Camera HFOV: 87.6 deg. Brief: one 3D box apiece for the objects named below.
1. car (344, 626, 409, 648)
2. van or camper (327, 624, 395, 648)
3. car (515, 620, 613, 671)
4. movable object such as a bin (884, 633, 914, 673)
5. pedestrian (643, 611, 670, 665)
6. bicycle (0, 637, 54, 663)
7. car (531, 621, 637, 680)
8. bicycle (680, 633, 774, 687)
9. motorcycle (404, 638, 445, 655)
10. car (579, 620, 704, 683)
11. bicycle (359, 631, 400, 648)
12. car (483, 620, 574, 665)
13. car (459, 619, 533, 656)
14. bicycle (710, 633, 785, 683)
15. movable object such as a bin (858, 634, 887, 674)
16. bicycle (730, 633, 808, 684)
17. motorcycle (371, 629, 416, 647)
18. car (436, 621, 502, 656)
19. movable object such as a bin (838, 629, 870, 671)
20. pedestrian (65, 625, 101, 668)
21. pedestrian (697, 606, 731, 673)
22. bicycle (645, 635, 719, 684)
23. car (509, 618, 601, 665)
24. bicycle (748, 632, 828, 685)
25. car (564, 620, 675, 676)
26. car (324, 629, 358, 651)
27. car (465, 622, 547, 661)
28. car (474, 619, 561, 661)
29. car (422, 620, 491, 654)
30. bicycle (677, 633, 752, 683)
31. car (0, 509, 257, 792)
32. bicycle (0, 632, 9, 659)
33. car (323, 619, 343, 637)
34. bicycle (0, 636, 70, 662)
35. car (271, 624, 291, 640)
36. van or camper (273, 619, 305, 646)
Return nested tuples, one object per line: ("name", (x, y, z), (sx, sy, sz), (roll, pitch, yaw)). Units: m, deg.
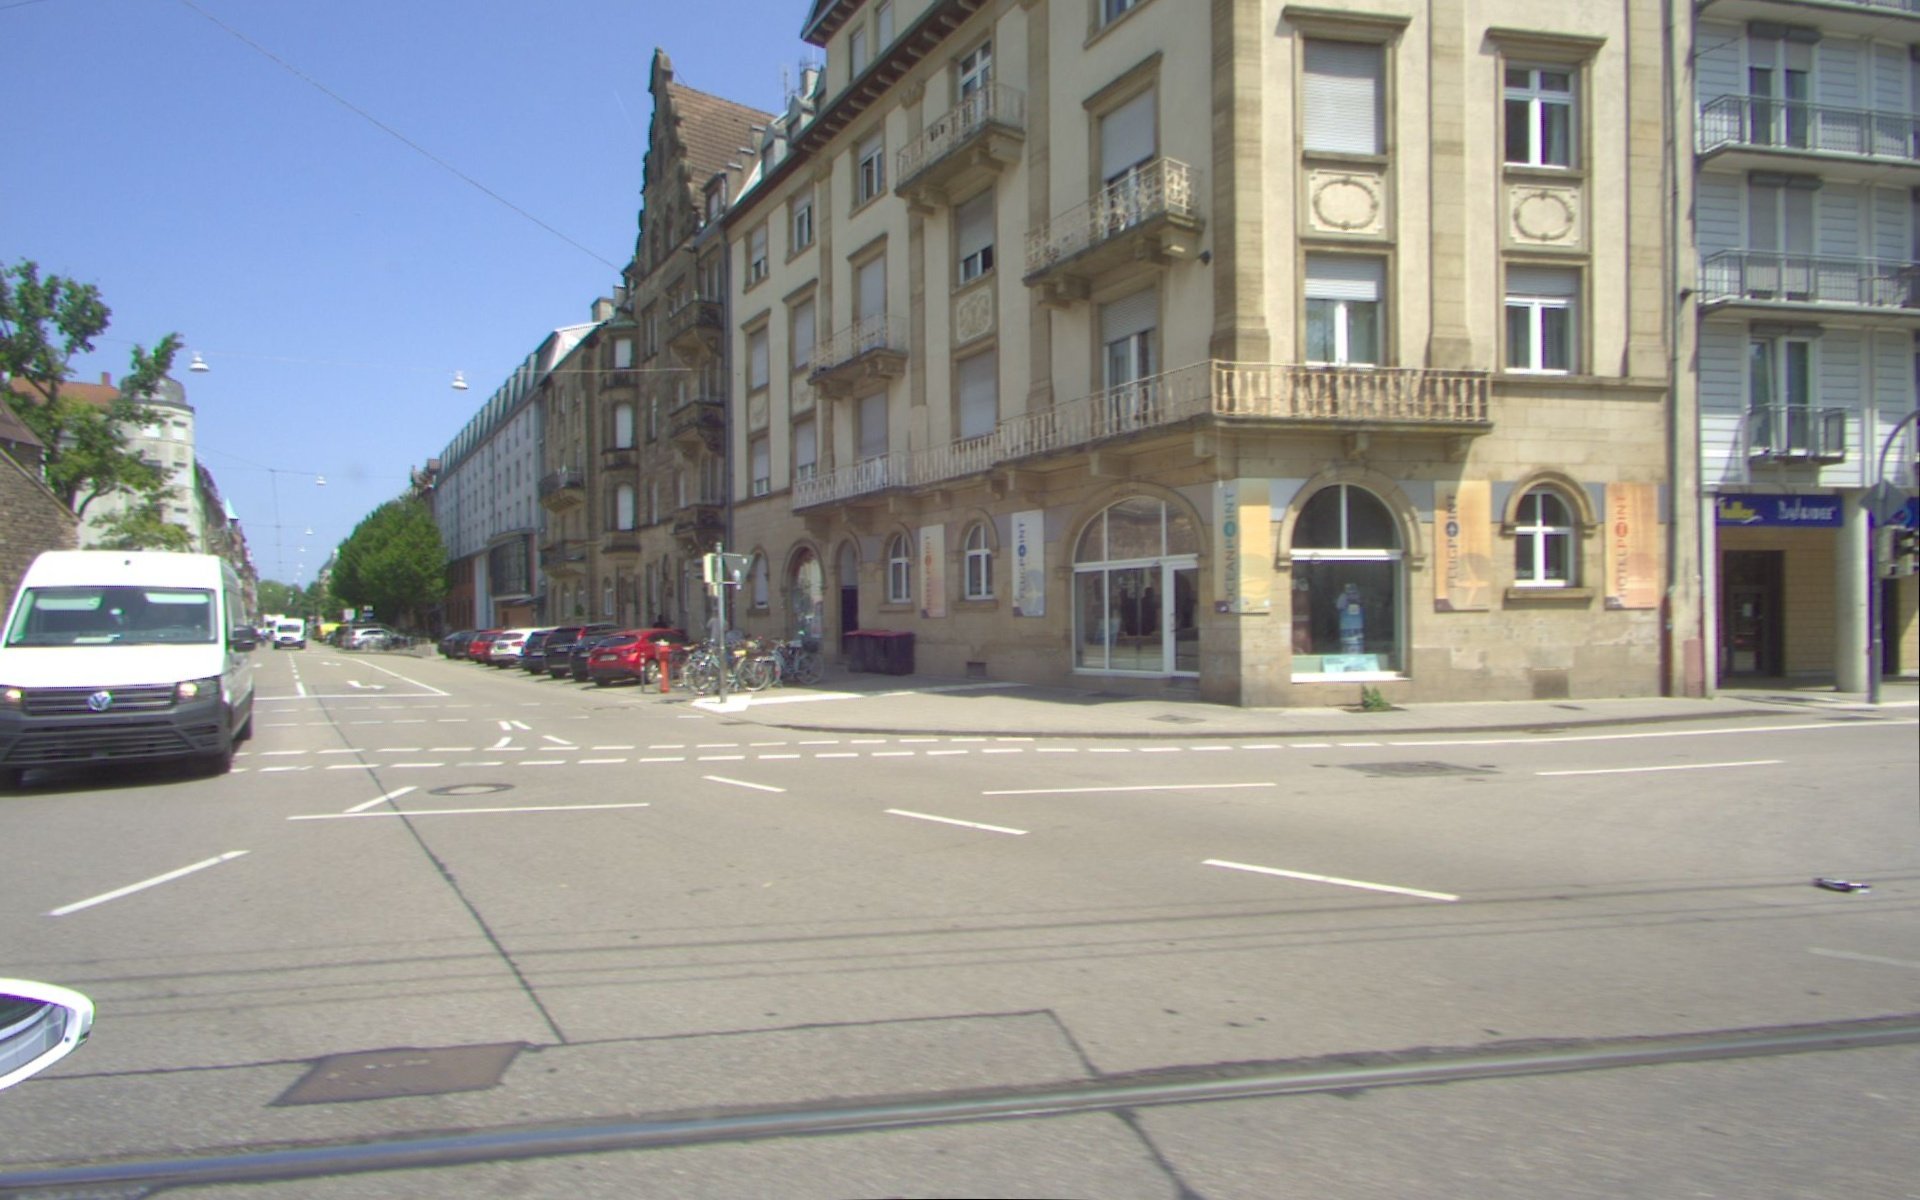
("car", (-44.371, 2.814, 76.221), (1.725, 1.568, 3.980), (-2, -2, 32))
("van or camper", (-48.419, 2.884, 81.025), (1.970, 1.862, 4.308), (-1, -1, 29))
("car", (-14.136, 1.586, 35.909), (1.588, 1.595, 3.222), (-3, 0, 16))
("movable object such as a bin", (-1.537, 1.331, 25.302), (0.574, 1.008, 0.588), (-1, -1, -26))
("pedestrian", (-11.804, 1.461, 38.922), (0.853, 2.040, 1.097), (-1, -1, -24))
("bicycle", (-38.996, 2.048, 41.275), (2.451, 1.025, 0.706), (0, 0, -8))
("car", (-12.292, 1.633, 32.901), (1.588, 1.687, 3.222), (-3, 0, 16))
("bicycle", (-5.309, 1.354, 22.819), (2.025, 1.166, 0.564), (0, 0, -21))
("motorcycle", (-38.587, 3.363, 72.223), (2.563, 1.190, 0.679), (0, -1, -32))
("car", (-8.808, 1.403, 27.950), (1.590, 1.498, 3.217), (-3, 0, 22))
("bicycle", (-42.165, 2.858, 72.761), (0.673, 1.190, 2.585), (-1, -1, 33))
("car", (-17.573, 1.702, 40.927), (1.589, 1.595, 3.219), (-3, 0, 20))
("car", (-22.625, 1.823, 48.962), (1.587, 1.595, 3.224), (-3, 0, 12))
("bicycle", (-5.360, 1.449, 25.259), (1.774, 1.166, 0.564), (-2, 0, -21))
("movable object such as a bin", (-2.276, 1.402, 26.064), (0.574, 1.008, 0.588), (-1, -1, -26))
("bicycle", (-4.697, 1.422, 24.611), (1.774, 1.166, 0.564), (-2, 0, -21))
("motorcycle", (-39.447, 2.638, 69.726), (2.681, 1.190, 0.771), (0, -1, -32))
("car", (-24.994, 1.920, 51.102), (1.467, 1.595, 3.226), (-3, 0, 5))
("movable object such as a bin", (-2.822, 1.322, 26.651), (0.660, 1.078, 0.588), (-1, -1, -26))
("pedestrian", (-32.433, 1.714, 37.033), (0.708, 1.579, 0.790), (-1, -1, -16))
("pedestrian", (-8.047, 1.287, 32.741), (0.853, 2.141, 1.097), (-1, -1, -24))
("bicycle", (-7.279, 1.544, 26.256), (1.784, 1.166, 0.561), (-2, 0, -40))
("car", (-15.580, 1.583, 38.709), (1.588, 1.595, 3.222), (-3, 0, 16))
("bicycle", (-4.102, 1.386, 23.879), (1.774, 1.166, 0.564), (-2, 0, -21))
("car", (-10.335, 1.429, 30.619), (1.588, 1.498, 3.222), (-3, 0, 16))
("car", (-54.934, 3.530, 88.868), (1.939, 1.773, 3.965), (0, -1, -41))
("car", (-20.805, 1.886, 46.005), (1.589, 1.595, 3.219), (-3, 0, 20))
("car", (-19.133, 1.707, 43.428), (1.589, 1.595, 3.219), (-3, 0, 20))
("car", (-26.730, 1.937, 53.268), (1.586, 1.595, 3.225), (-3, 0, 10))
("bicycle", (-6.316, 1.478, 25.746), (1.774, 1.166, 0.564), (-2, 0, -21))
("car", (-10.254, 0.526, 12.632), (2.050, 2.672, 6.592), (0, 0, -33))
("bicycle", (-38.727, 1.787, 39.002), (2.451, 1.025, 0.706), (0, 0, -8))
("car", (-77.324, 3.481, 123.535), (1.885, 2.040, 3.981), (-2, -1, -30))
("bicycle", (-39.206, 2.063, 42.272), (2.451, 1.025, 0.706), (0, 0, -8))
("car", (-86.352, 4.111, 127.441), (1.973, 2.039, 3.977), (0, -2, -32))
("van or camper", (-54.814, 2.614, 81.768), (2.017, 2.169, 4.548), (0, 0, -35))
